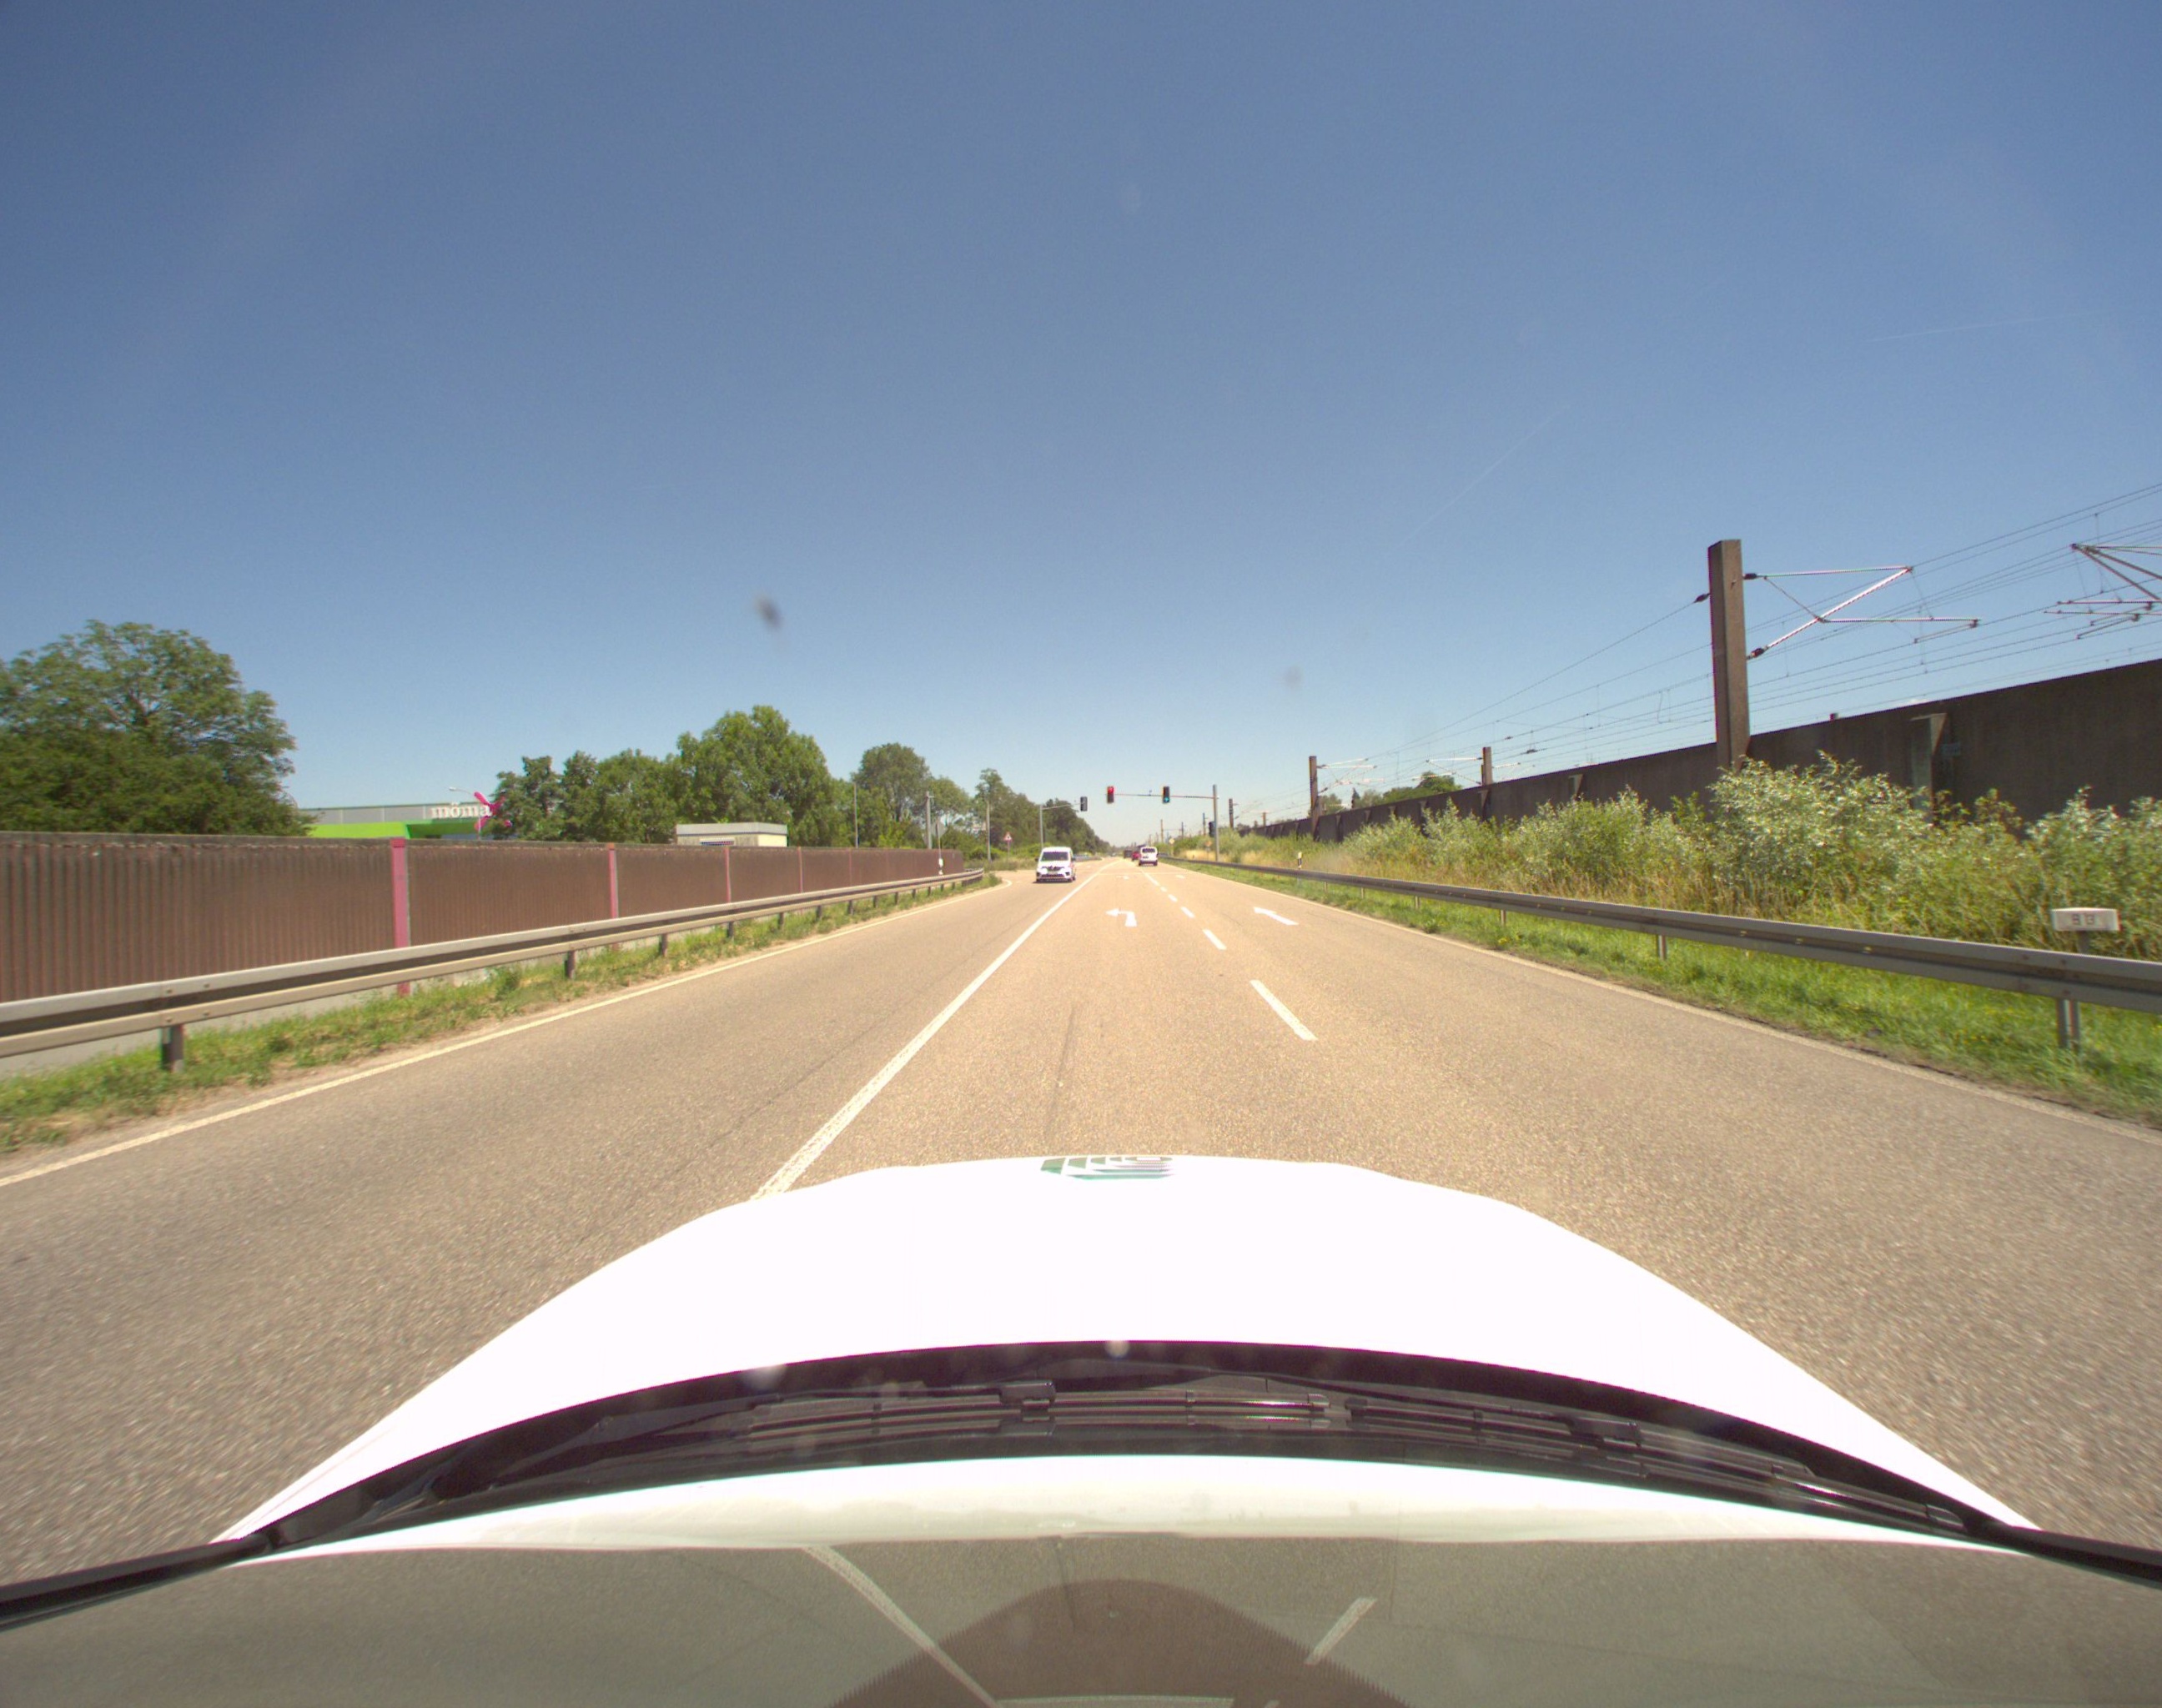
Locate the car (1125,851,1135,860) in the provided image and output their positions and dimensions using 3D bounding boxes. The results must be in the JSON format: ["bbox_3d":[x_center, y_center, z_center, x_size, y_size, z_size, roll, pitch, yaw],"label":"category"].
[{"bbox_3d":[10.849,0.344,180.413,2.147,1.968,4.544,-1,0,1],"label":"car"}]

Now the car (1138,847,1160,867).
[{"bbox_3d":[7.020,0.274,84.304,1.986,1.983,4.061,0,0,2],"label":"car"}]

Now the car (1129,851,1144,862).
[{"bbox_3d":[8.512,0.379,125.125,2.012,1.726,4.544,-1,0,1],"label":"car"}]

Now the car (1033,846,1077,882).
[{"bbox_3d":[-1.294,0.507,42.459,1.880,1.740,4.779,-1,0,2],"label":"car"}]
